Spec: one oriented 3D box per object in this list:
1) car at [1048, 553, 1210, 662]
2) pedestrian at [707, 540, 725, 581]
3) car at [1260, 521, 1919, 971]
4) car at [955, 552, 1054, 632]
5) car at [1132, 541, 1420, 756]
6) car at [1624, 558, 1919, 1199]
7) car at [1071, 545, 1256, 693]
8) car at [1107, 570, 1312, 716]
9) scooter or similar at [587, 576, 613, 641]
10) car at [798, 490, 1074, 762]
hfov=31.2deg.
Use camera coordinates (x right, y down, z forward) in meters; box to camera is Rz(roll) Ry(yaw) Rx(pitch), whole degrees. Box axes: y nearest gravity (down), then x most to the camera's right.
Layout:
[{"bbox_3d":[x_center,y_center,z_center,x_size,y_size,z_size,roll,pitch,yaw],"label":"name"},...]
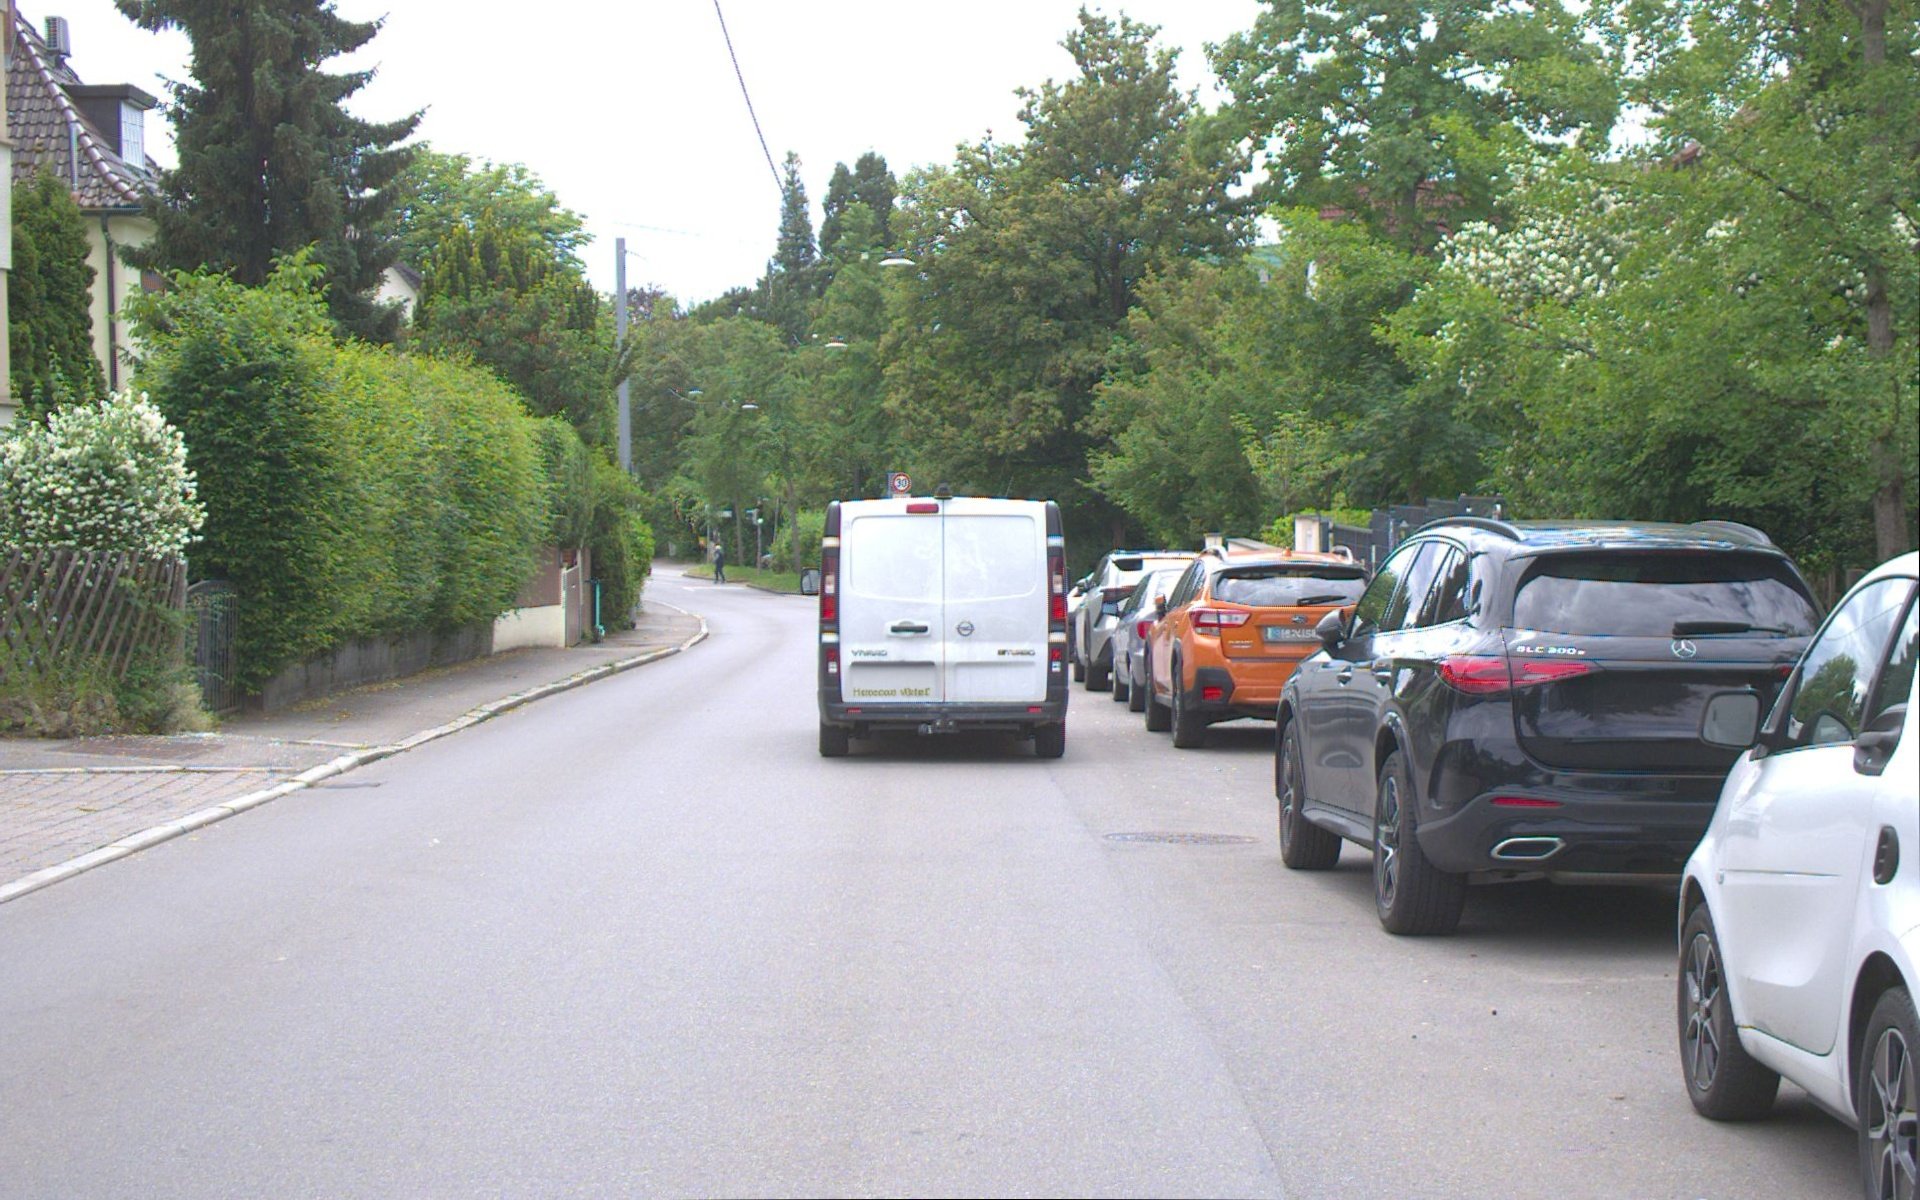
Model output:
[{"bbox_3d":[2.459,0.103,49.627,2.287,1.518,1.318,-1,1,4],"label":"car"},{"bbox_3d":[-9.926,-1.615,140.001,0.697,1.610,0.715,0,3,-7],"label":"pedestrian"},{"bbox_3d":[2.569,0.514,14.759,1.950,1.621,4.377,1,1,-3],"label":"car"},{"bbox_3d":[0.948,-0.194,75.403,1.865,1.679,4.351,0,1,-3],"label":"car"},{"bbox_3d":[2.528,0.352,28.419,1.850,1.621,4.170,1,1,-2],"label":"car"},{"bbox_3d":[2.704,0.652,8.308,1.598,1.505,3.013,0,1,0],"label":"car"},{"bbox_3d":[2.313,0.187,40.088,1.829,1.618,4.492,0,1,-1],"label":"car"},{"bbox_3d":[2.465,0.387,34.807,1.716,1.377,4.236,0,1,-1],"label":"car"},{"bbox_3d":[-6.627,0.148,63.376,0.391,1.167,1.270,0,1,-2],"label":"scooter or similar"},{"bbox_3d":[-0.277,0.134,27.042,1.929,1.957,4.402,0,1,-4],"label":"car"}]
